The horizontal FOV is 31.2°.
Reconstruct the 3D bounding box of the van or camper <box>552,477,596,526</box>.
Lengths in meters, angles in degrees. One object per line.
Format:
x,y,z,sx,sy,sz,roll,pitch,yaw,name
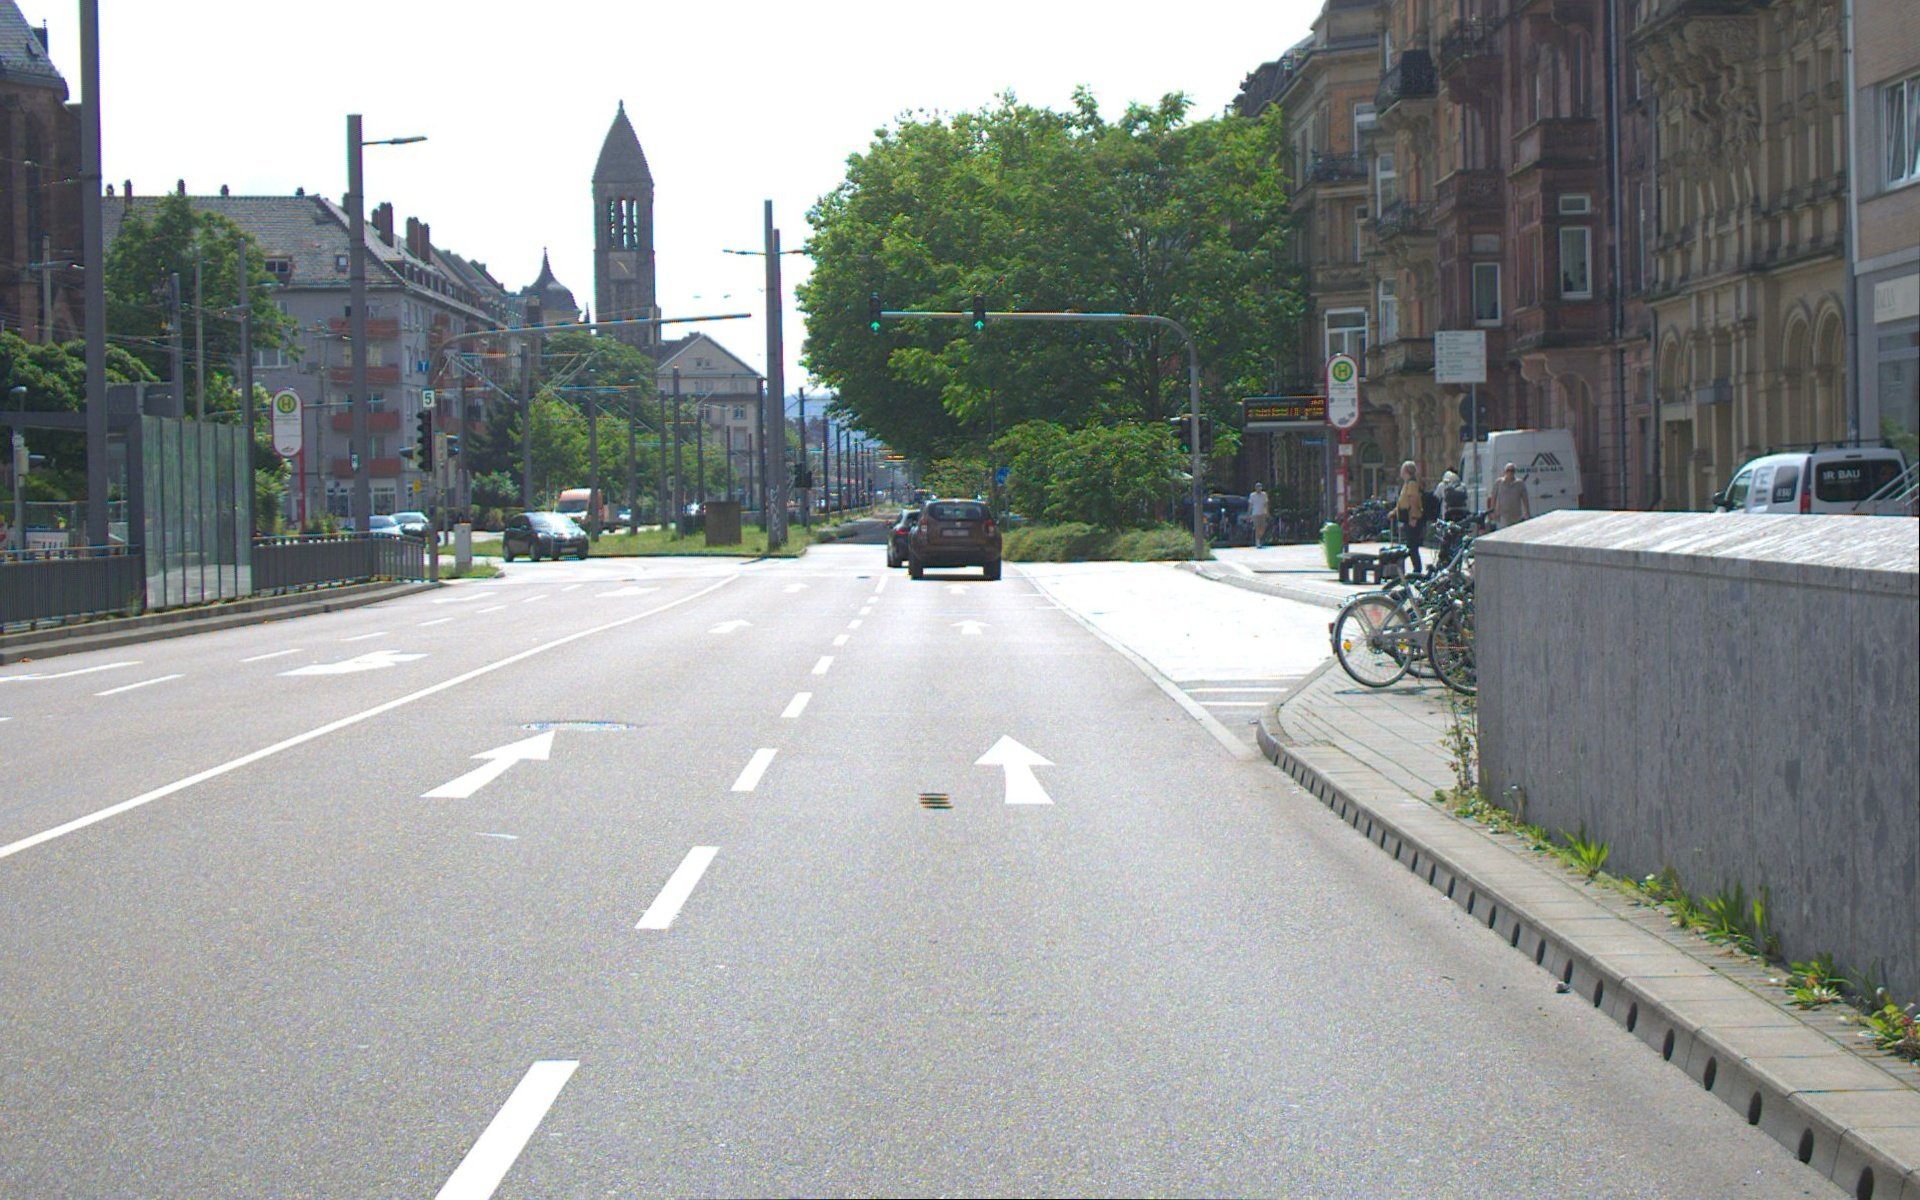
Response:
-22.518,-5.740,200.691,2.255,2.728,6.204,-1,1,-4,van or camper

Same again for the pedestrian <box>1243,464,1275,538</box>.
8.225,-2.718,94.513,0.768,2.007,0.715,-1,1,1,pedestrian

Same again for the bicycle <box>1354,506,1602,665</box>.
4.269,-0.125,28.323,1.978,1.233,0.441,-2,4,-11,bicycle

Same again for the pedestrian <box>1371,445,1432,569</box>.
6.850,-1.445,53.384,0.662,1.896,0.695,-2,1,-18,pedestrian

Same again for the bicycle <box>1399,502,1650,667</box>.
4.479,-0.130,27.292,1.923,1.233,0.441,-2,4,-10,bicycle

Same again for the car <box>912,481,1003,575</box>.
-0.065,-1.490,69.555,1.689,1.705,3.610,-1,4,-2,car

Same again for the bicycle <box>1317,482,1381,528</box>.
11.141,-2.727,98.448,1.769,1.263,0.466,-1,4,3,bicycle

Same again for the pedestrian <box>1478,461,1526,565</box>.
9.660,-1.556,61.287,0.662,1.830,0.695,-2,1,-6,pedestrian

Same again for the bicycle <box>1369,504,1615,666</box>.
4.301,-0.129,27.798,1.923,1.233,0.441,-2,4,-12,bicycle

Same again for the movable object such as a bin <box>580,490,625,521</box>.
-21.530,-5.677,207.004,2.206,1.687,3.719,-2,4,-13,movable object such as a bin

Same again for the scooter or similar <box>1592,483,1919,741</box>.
5.145,0.067,21.394,2.325,1.540,0.698,-1,4,6,scooter or similar

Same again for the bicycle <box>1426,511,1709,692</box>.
4.300,0.009,24.374,1.924,1.233,0.441,-1,4,2,bicycle

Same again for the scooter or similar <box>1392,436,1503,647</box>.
4.223,-0.518,29.885,0.397,1.780,1.538,-2,2,-13,scooter or similar

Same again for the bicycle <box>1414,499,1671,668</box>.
4.523,-0.138,26.695,1.923,1.233,0.441,-2,4,-10,bicycle

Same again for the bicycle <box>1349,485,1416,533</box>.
11.532,-2.485,93.900,1.769,1.263,0.466,-1,4,3,bicycle

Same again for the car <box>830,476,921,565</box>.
-2.030,-1.892,81.783,1.993,2.006,4.001,-2,2,-3,car

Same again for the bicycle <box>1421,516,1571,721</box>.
3.576,0.095,23.053,0.439,1.233,1.931,-1,4,-8,bicycle

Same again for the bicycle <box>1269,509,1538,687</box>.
3.275,-0.024,25.361,1.923,1.233,0.441,-2,4,-13,bicycle

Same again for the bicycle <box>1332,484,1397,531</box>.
11.291,-2.592,95.930,1.769,1.263,0.466,-1,4,3,bicycle

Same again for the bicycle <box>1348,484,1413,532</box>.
11.549,-2.533,94.495,1.746,1.263,0.466,-1,4,3,bicycle

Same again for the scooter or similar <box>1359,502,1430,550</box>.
11.542,-1.954,91.251,1.769,1.181,0.466,-3,1,0,scooter or similar

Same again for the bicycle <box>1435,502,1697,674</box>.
4.608,-0.102,26.145,1.923,1.233,0.441,-2,4,-10,bicycle

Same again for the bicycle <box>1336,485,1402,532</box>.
11.330,-2.536,95.204,1.769,1.263,0.466,-1,4,3,bicycle

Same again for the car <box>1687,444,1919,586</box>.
11.850,-1.171,47.906,1.993,1.855,4.754,-1,1,-6,car

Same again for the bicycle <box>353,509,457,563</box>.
-12.047,-1.399,74.688,2.019,1.122,0.931,-1,1,10,bicycle

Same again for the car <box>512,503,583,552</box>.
-12.402,-2.192,103.546,1.915,1.412,3.742,-1,2,-4,car

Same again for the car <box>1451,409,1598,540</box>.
11.476,-2.550,70.275,1.993,2.516,5.889,-1,2,0,car

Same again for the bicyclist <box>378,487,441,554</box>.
-11.961,-1.731,74.717,1.089,1.431,0.824,-1,1,10,bicyclist

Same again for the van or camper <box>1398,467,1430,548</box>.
11.477,-2.334,86.882,0.666,2.007,0.638,-1,1,0,van or camper

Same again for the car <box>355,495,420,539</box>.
-21.075,-3.061,126.607,1.817,1.546,4.561,-1,1,-3,car
